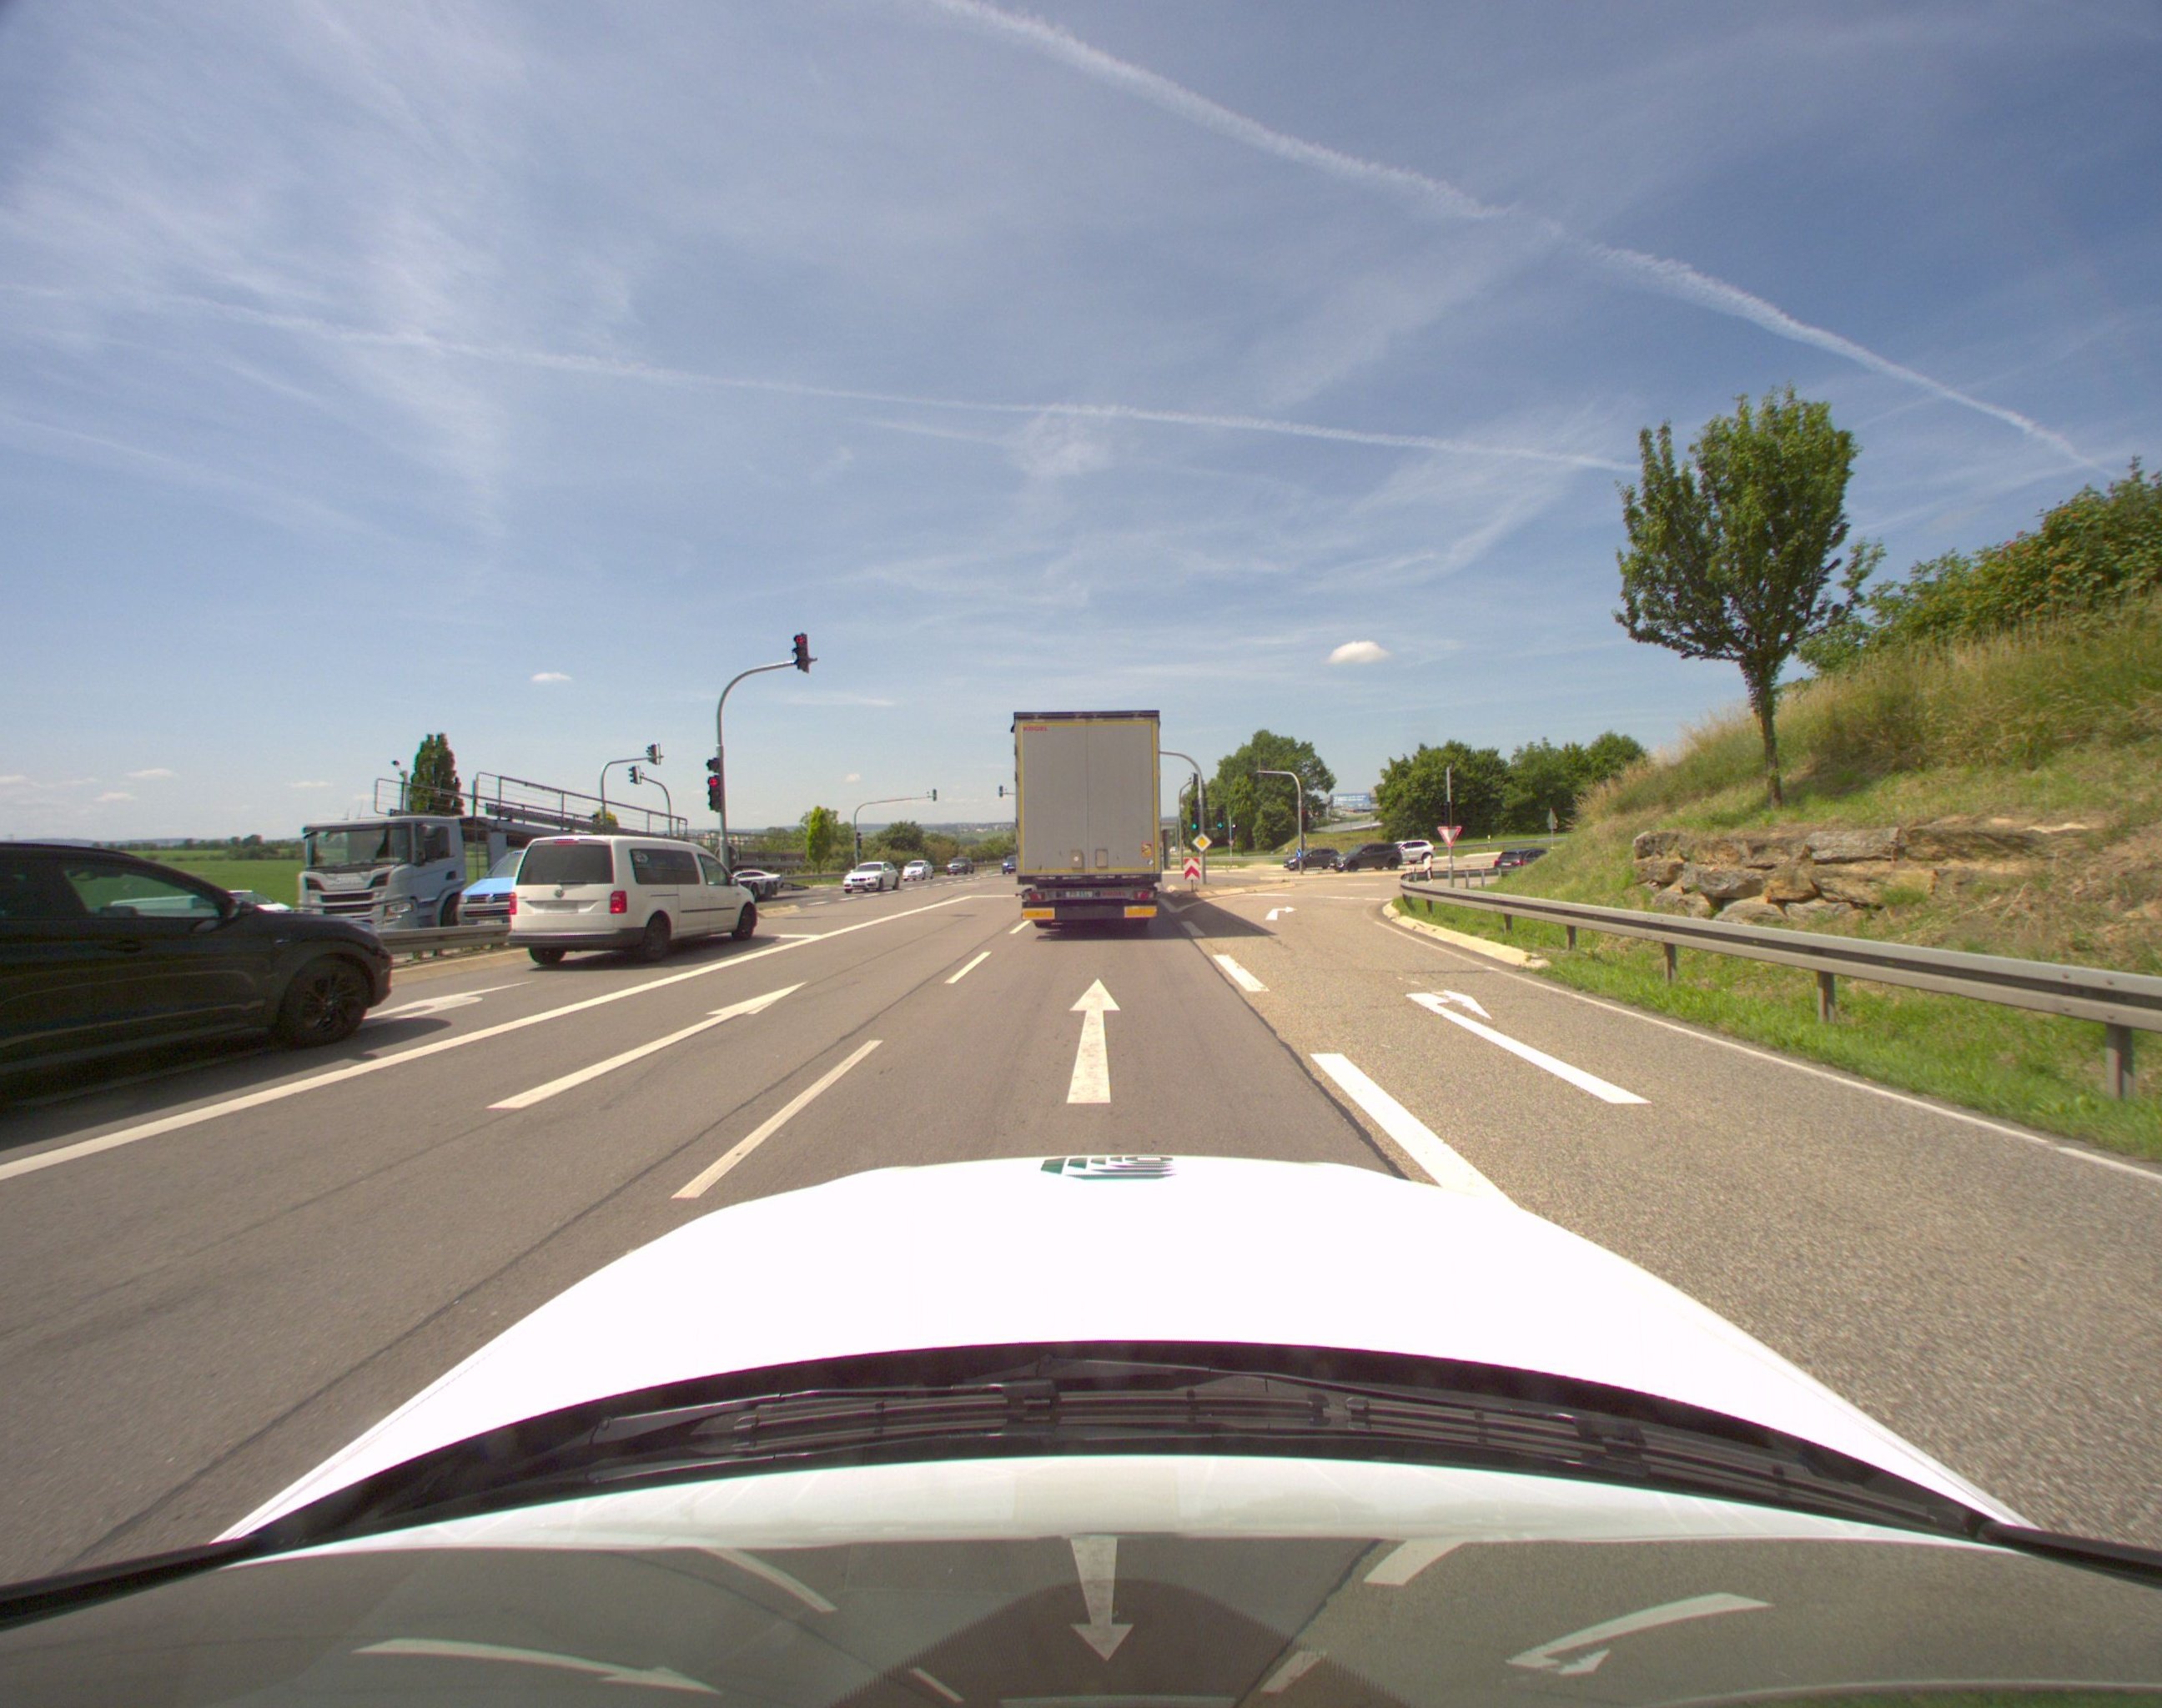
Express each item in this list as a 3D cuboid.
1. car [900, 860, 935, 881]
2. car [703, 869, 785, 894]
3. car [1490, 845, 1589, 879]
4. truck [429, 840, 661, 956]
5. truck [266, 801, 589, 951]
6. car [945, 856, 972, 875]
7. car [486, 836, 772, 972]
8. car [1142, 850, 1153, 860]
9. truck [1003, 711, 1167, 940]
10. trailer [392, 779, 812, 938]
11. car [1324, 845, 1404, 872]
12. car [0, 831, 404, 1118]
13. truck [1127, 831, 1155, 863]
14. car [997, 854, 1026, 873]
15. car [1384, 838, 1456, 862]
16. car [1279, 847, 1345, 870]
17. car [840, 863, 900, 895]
[{"bbox_3d":[-12.483,1.220,62.334,1.637,1.496,3.805,-3,-1,4],"label":"car"},{"bbox_3d":[-21.252,1.719,51.391,4.514,1.460,1.615,0,-1,-38],"label":"car"},{"bbox_3d":[21.582,0.363,38.350,4.300,1.532,1.739,0,-1,-22],"label":"car"},{"bbox_3d":[-11.459,0.870,17.902,1.960,2.157,4.623,-2,-1,0],"label":"truck"},{"bbox_3d":[-15.307,0.484,19.802,2.788,3.013,5.993,-2,-1,2],"label":"truck"},{"bbox_3d":[-11.563,1.101,76.977,1.637,1.623,4.330,-3,-1,3],"label":"car"},{"bbox_3d":[-6.941,0.667,13.234,1.760,1.798,4.756,0,0,3],"label":"car"},{"bbox_3d":[11.887,0.228,145.885,1.777,1.688,4.007,0,-1,6],"label":"car"},{"bbox_3d":[0.081,-0.499,19.704,2.790,3.929,11.340,0,0,0],"label":"truck"},{"bbox_3d":[-14.833,0.194,29.511,2.628,3.763,19.811,-2,-1,3],"label":"trailer"},{"bbox_3d":[17.203,0.269,49.568,4.359,1.510,1.710,-1,-1,-11],"label":"car"},{"bbox_3d":[-7.156,0.702,5.273,1.849,1.657,4.349,0,0,1],"label":"car"},{"bbox_3d":[7.636,-0.796,101.708,2.640,3.764,10.186,0,-1,9],"label":"truck"},{"bbox_3d":[-5.713,0.802,67.617,1.747,1.469,4.200,-1,0,3],"label":"car"},{"bbox_3d":[23.962,-0.268,57.639,4.354,1.592,1.775,-1,-1,-7],"label":"car"},{"bbox_3d":[15.843,0.306,55.843,3.983,1.510,1.712,-1,-1,-7],"label":"car"},{"bbox_3d":[-10.289,1.173,39.971,1.765,1.434,4.002,-2,-1,2],"label":"car"}]
